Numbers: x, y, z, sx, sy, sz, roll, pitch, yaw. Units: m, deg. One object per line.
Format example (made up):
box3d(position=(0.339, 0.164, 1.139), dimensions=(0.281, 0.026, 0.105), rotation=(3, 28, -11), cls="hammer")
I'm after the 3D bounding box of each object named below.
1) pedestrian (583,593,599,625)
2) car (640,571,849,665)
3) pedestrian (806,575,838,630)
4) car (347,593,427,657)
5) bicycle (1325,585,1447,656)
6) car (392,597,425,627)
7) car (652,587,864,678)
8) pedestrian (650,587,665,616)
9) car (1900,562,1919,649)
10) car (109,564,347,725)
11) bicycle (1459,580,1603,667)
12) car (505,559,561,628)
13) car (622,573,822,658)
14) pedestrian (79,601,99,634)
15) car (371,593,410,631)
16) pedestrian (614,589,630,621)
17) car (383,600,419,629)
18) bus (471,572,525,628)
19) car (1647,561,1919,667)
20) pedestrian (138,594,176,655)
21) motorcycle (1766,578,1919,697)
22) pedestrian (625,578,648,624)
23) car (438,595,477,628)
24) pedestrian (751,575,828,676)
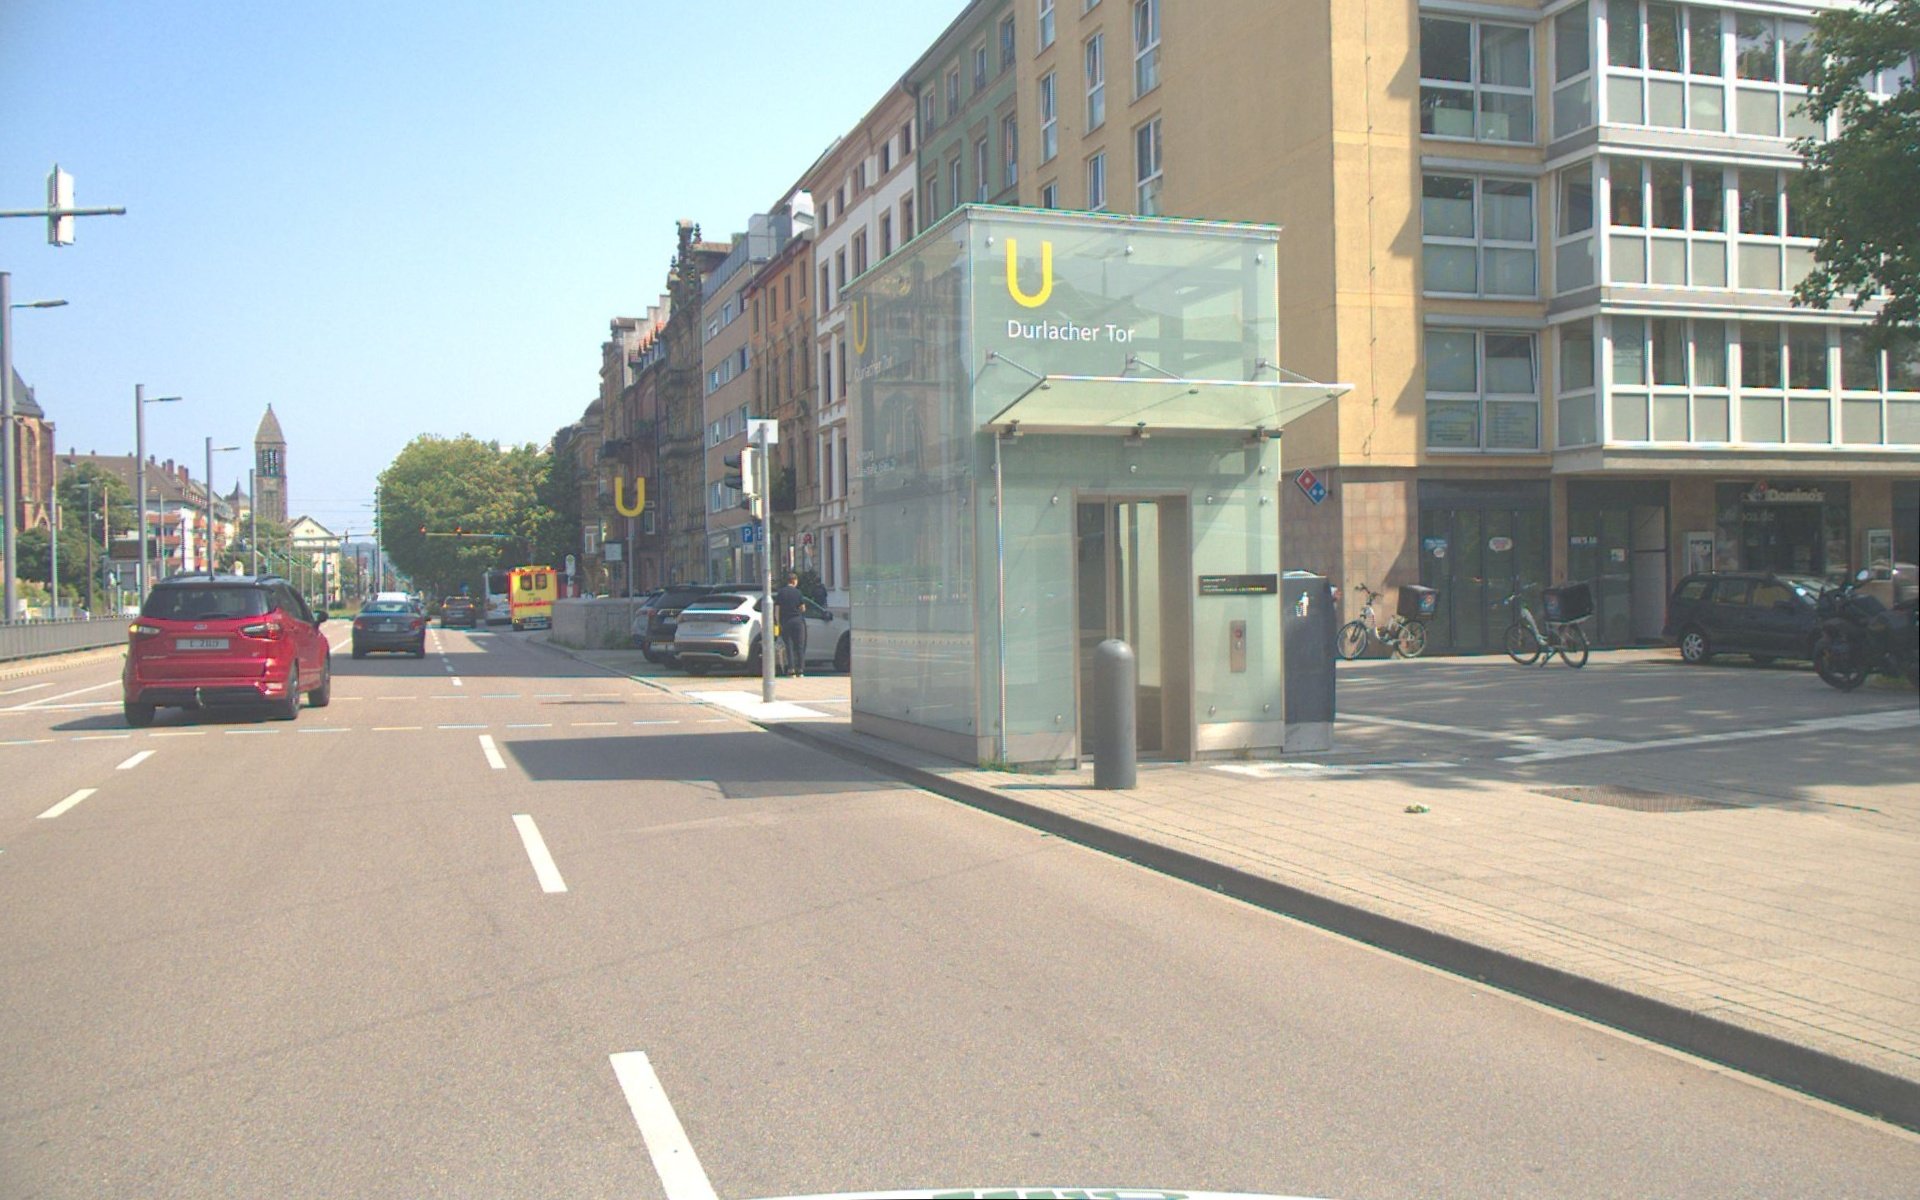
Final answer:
box3d(position=(-20.180, 0.496, 90.489), dimensions=(0.682, 1.696, 0.603), rotation=(-1, 0, 7), cls="pedestrian")
box3d(position=(-4.267, 0.318, 33.456), dimensions=(1.943, 1.717, 4.385), rotation=(-1, 1, 30), cls="car")
box3d(position=(-4.798, 0.091, 57.523), dimensions=(0.831, 1.878, 0.680), rotation=(-3, 1, -28), cls="pedestrian")
box3d(position=(-14.223, 0.571, 41.176), dimensions=(1.762, 1.456, 3.979), rotation=(-2, 1, -18), cls="car")
box3d(position=(7.342, 0.340, 28.545), dimensions=(1.925, 1.163, 0.596), rotation=(-1, 0, -4), cls="bicycle")
box3d(position=(-33.115, 0.741, 99.288), dimensions=(1.764, 1.728, 3.977), rotation=(-1, -1, -20), cls="car")
box3d(position=(-3.639, 0.562, 30.304), dimensions=(1.771, 1.526, 3.772), rotation=(1, 0, 35), cls="car")
box3d(position=(-16.259, 0.091, 88.938), dimensions=(0.633, 1.519, 0.785), rotation=(-1, 0, -19), cls="pedestrian")
box3d(position=(17.937, 0.074, 27.066), dimensions=(1.873, 1.496, 4.220), rotation=(-2, 1, -21), cls="car")
box3d(position=(-8.505, 0.509, 19.562), dimensions=(1.731, 1.646, 4.069), rotation=(-2, -1, -12), cls="car")
box3d(position=(8.757, 0.343, 25.492), dimensions=(0.780, 1.260, 2.422), rotation=(-1, 0, -18), cls="bicycle")
box3d(position=(-19.489, -0.323, 75.525), dimensions=(2.261, 2.938, 5.577), rotation=(-3, 1, -15), cls="car")
box3d(position=(-5.266, 0.302, 37.205), dimensions=(1.999, 1.743, 4.658), rotation=(-1, 1, 29), cls="car")
box3d(position=(-48.489, 0.975, 92.054), dimensions=(0.816, 1.782, 0.717), rotation=(-1, -1, -18), cls="pedestrian")
box3d(position=(-28.318, 0.598, 82.231), dimensions=(1.764, 1.811, 3.977), rotation=(-1, -1, -20), cls="car")
box3d(position=(-18.080, 0.249, 88.480), dimensions=(0.685, 1.696, 1.059), rotation=(-1, 0, -16), cls="pedestrian")
box3d(position=(-30.652, 0.797, 90.665), dimensions=(1.764, 1.498, 3.977), rotation=(-1, -1, -20), cls="car")
box3d(position=(-27.741, -0.012, 99.018), dimensions=(2.495, 3.084, 12.370), rotation=(-1, 0, -18), cls="bus")
box3d(position=(13.054, 0.179, 25.885), dimensions=(1.873, 1.496, 4.220), rotation=(-2, 1, -21), cls="car")
box3d(position=(-23.820, 0.717, 49.074), dimensions=(0.748, 1.782, 1.065), rotation=(-1, 0, -14), cls="pedestrian")
box3d(position=(9.534, 0.362, 17.402), dimensions=(0.892, 1.156, 2.109), rotation=(-1, 0, -6), cls="motorcycle")
box3d(position=(-12.990, 0.041, 66.325), dimensions=(0.835, 1.759, 0.968), rotation=(-2, 3, -12), cls="pedestrian")
box3d(position=(-26.832, 0.621, 88.269), dimensions=(1.764, 1.707, 3.977), rotation=(-1, -1, -20), cls="car")
box3d(position=(-2.998, 0.442, 29.042), dimensions=(0.889, 1.734, 1.030), rotation=(0, 0, 45), cls="pedestrian")
